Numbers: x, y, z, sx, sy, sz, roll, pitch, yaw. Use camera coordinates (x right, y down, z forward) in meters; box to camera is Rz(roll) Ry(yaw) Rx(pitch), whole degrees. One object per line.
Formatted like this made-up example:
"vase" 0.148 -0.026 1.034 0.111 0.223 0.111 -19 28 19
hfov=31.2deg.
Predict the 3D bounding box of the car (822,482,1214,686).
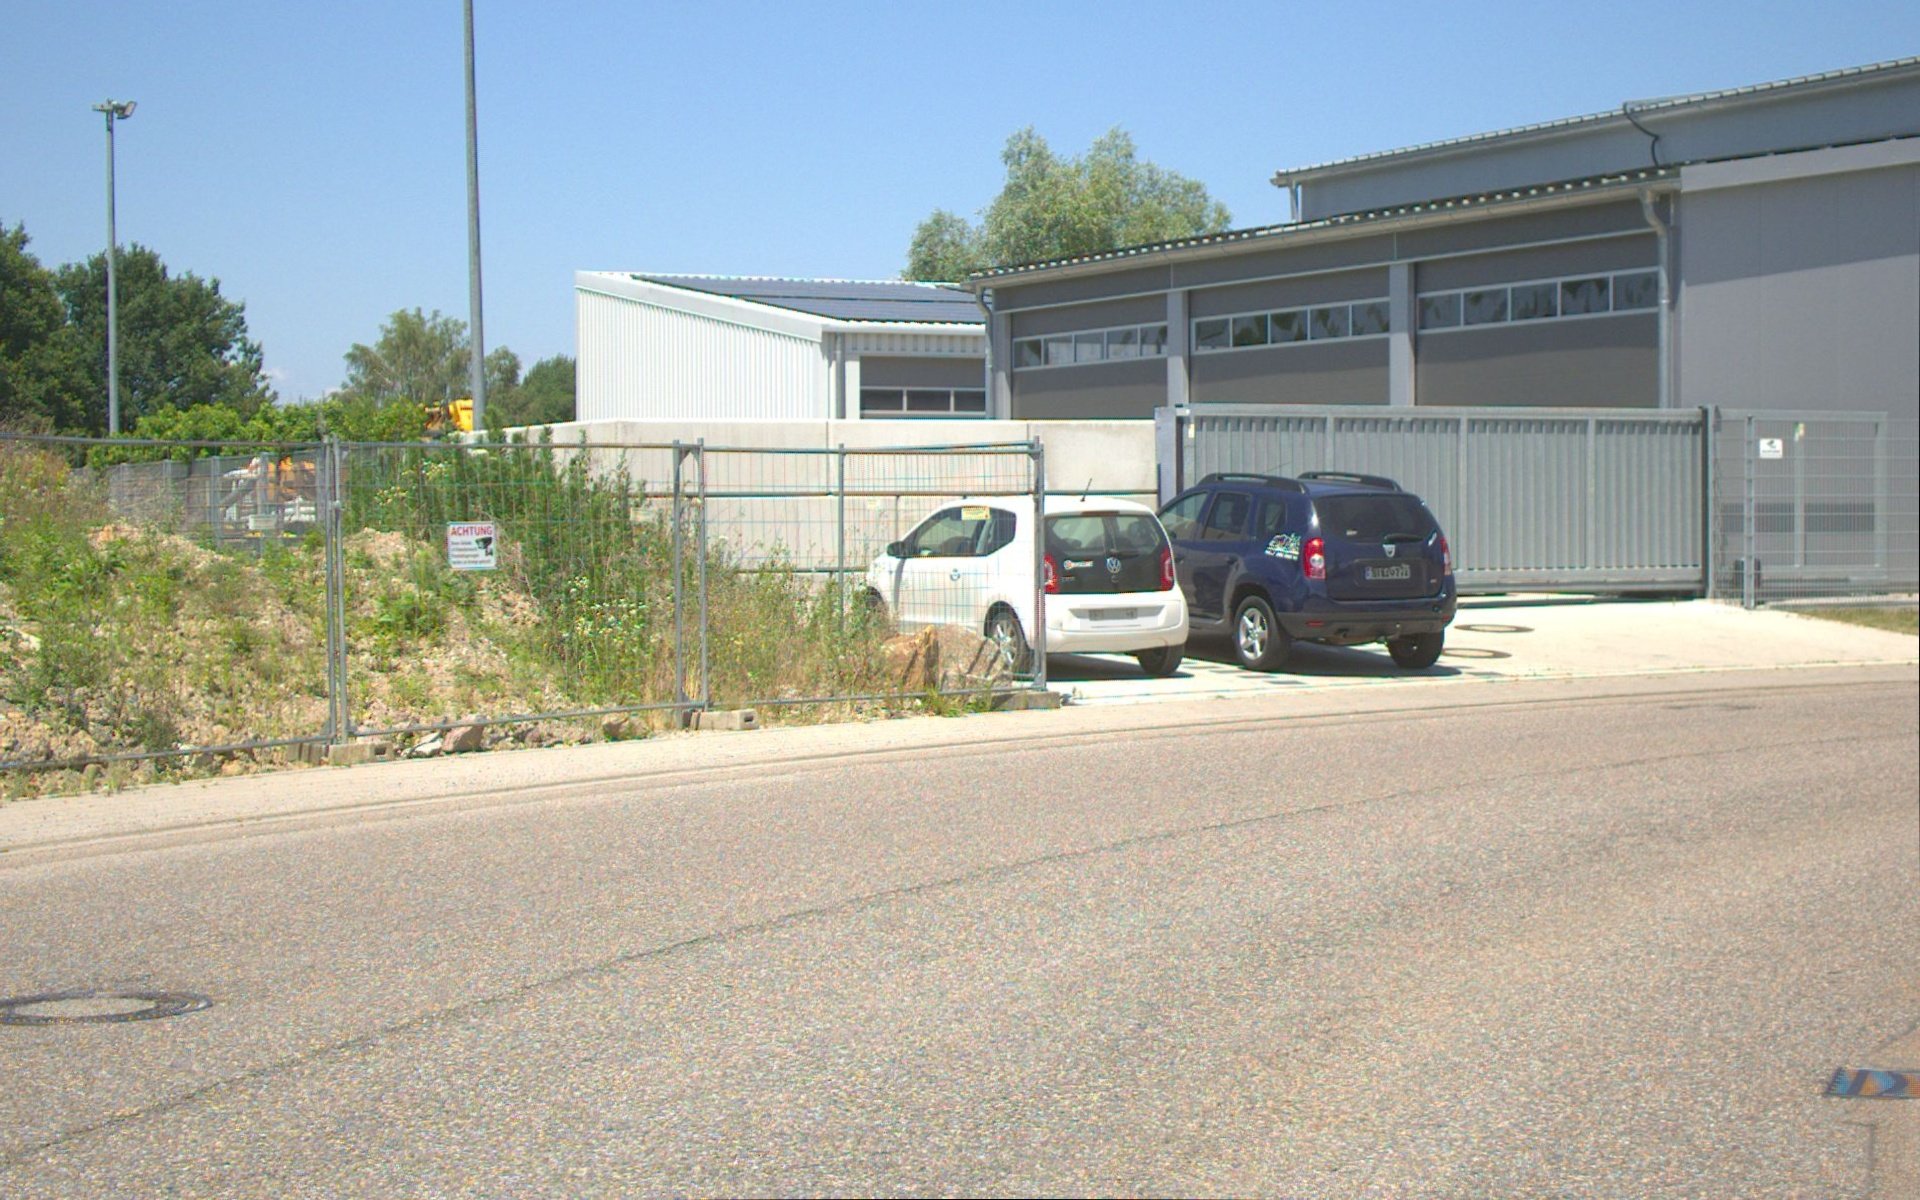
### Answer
"car" 0.430 -0.198 29.704 1.783 1.493 3.704 -2 5 -29

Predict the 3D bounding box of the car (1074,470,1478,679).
"car" 2.738 -0.285 30.566 1.794 1.603 3.704 -2 5 -29

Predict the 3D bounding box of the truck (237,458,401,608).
"truck" -13.312 -1.360 71.202 1.993 2.974 4.646 -2 1 -28
